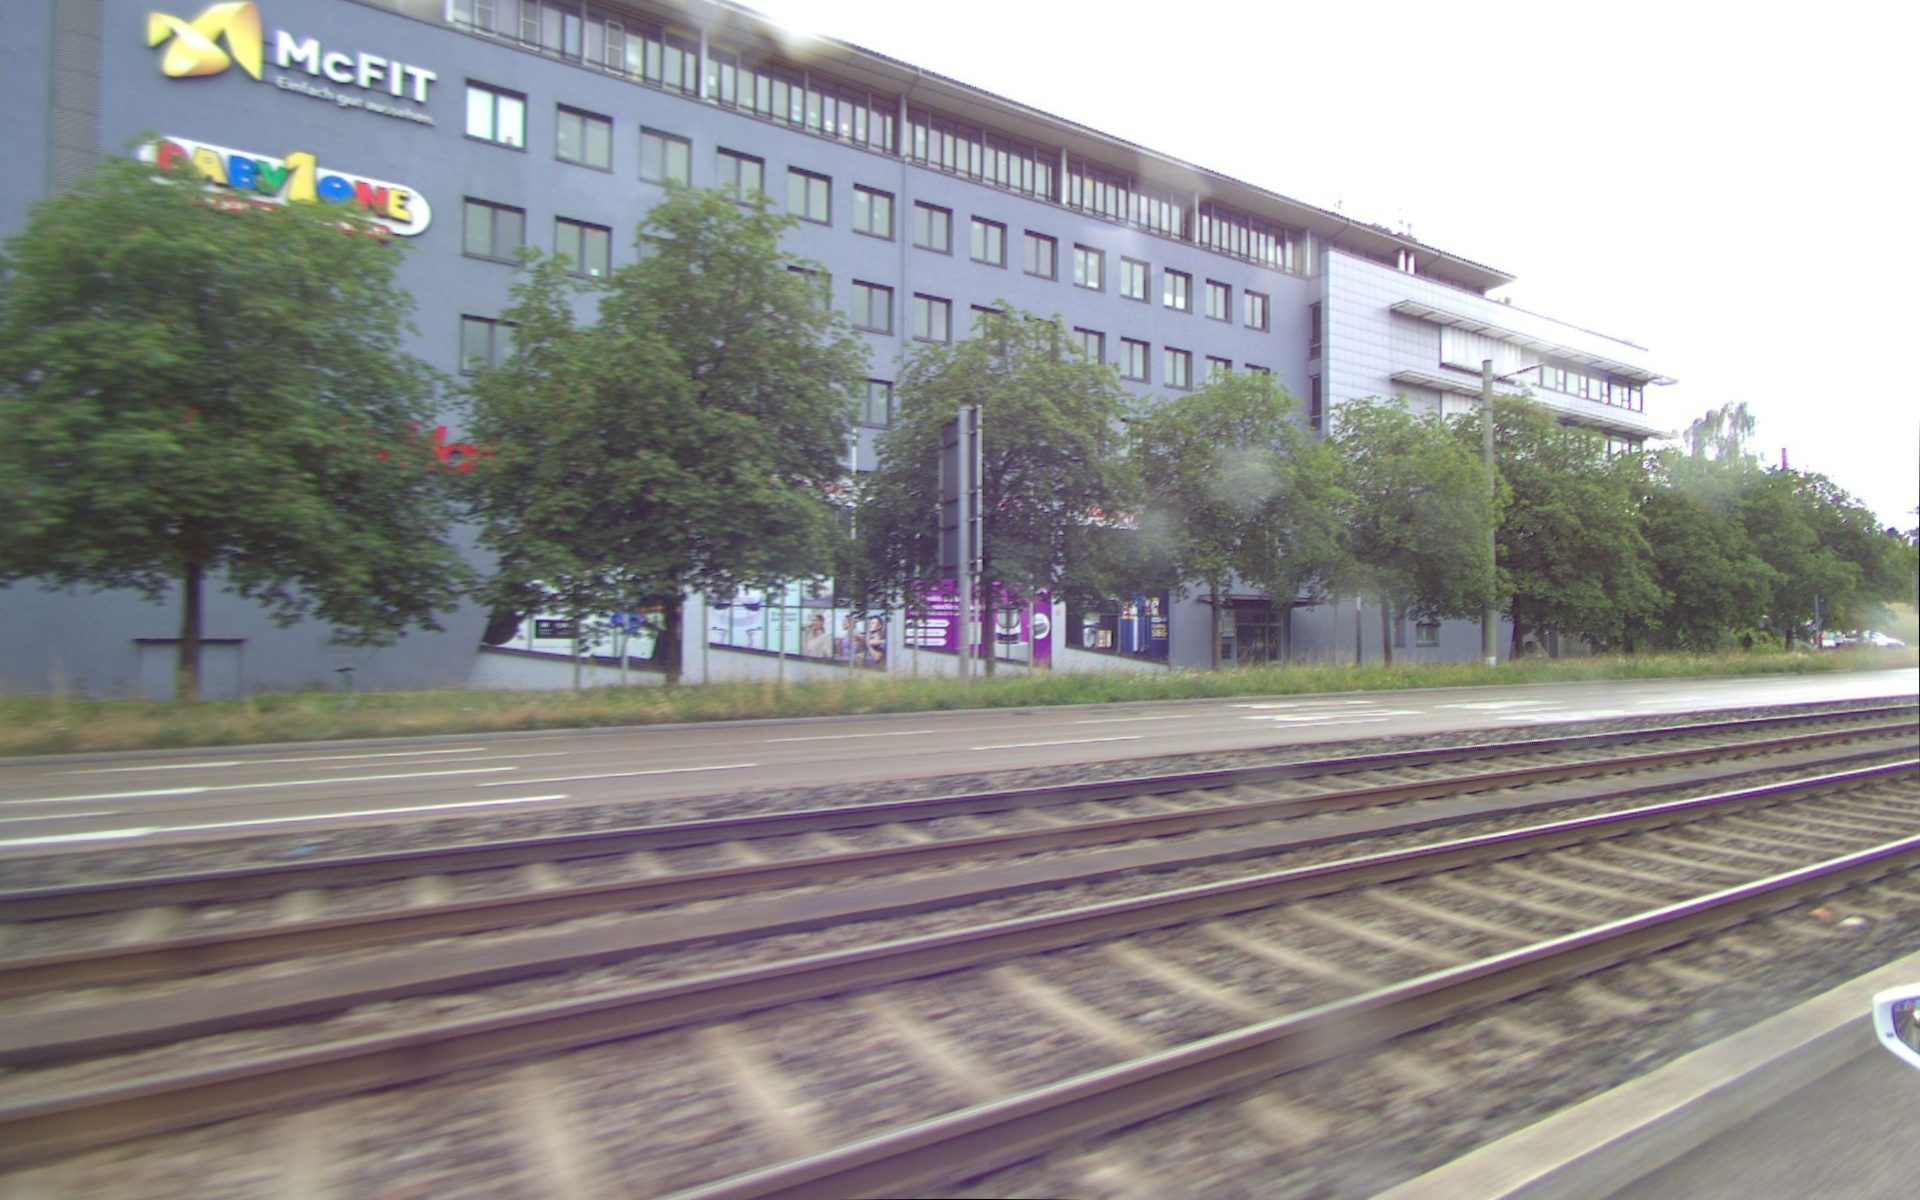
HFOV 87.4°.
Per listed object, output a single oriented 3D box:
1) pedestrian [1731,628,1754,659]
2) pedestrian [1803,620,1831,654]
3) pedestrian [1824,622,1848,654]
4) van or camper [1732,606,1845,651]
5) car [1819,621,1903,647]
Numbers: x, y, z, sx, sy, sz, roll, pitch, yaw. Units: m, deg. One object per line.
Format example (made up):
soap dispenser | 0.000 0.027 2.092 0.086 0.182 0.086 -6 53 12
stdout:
pedestrian | 44.966 2.498 57.718 0.866 1.779 0.722 1 1 -28
pedestrian | 52.121 2.260 61.113 0.929 2.040 0.887 0 -1 -15
pedestrian | 52.783 2.283 60.520 0.938 1.892 0.634 0 -2 -14
van or camper | 59.076 2.020 71.866 2.441 3.006 7.379 0 -1 4
car | 62.994 2.348 70.334 1.960 1.755 4.633 0 -1 4
